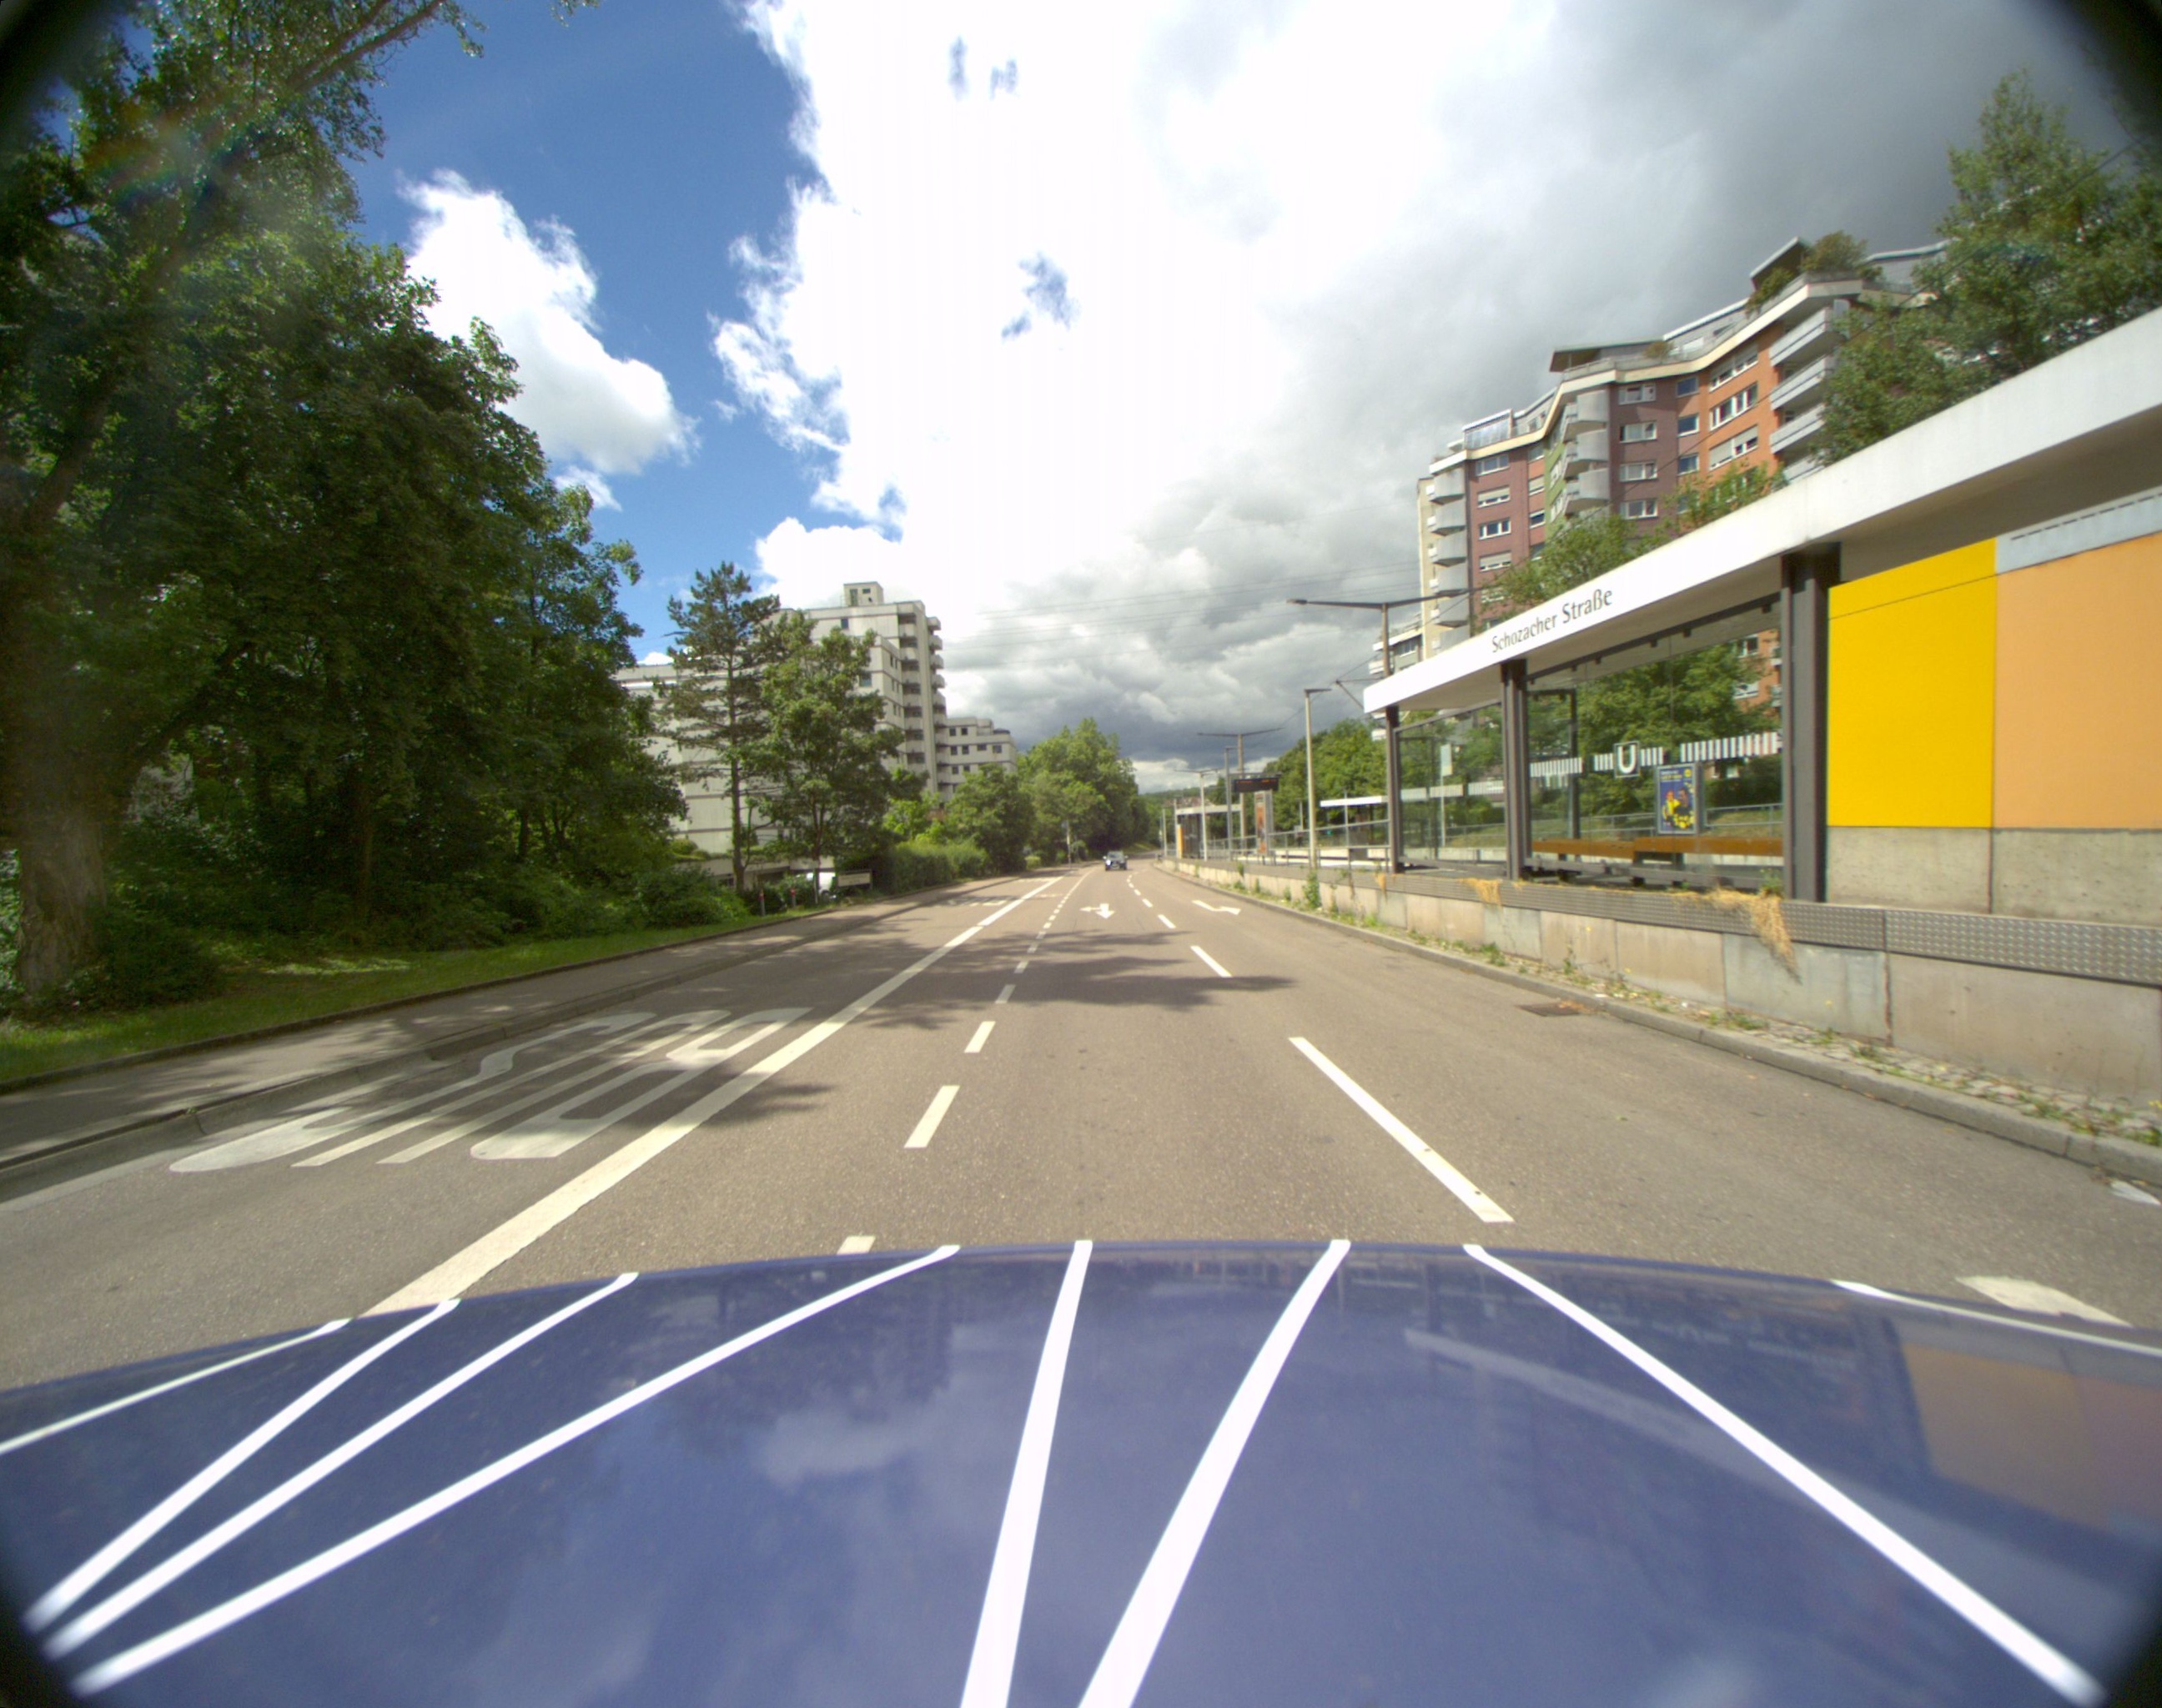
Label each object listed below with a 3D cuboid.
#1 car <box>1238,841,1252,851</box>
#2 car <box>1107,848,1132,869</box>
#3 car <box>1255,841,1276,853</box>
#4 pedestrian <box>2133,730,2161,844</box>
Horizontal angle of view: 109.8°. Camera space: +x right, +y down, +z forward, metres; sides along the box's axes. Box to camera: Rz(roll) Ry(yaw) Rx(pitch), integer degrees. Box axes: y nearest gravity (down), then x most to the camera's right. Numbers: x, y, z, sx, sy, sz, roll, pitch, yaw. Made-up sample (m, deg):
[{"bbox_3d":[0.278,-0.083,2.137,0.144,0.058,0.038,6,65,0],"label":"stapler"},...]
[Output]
[{"bbox_3d":[24.312,-1.211,112.700,1.658,1.504,3.738,-2,1,5],"label":"car"},{"bbox_3d":[3.080,0.339,60.286,1.736,1.477,3.817,-2,1,5],"label":"car"},{"bbox_3d":[23.300,-0.878,96.009,1.658,1.410,4.000,-2,1,1],"label":"car"},{"bbox_3d":[15.778,-0.967,11.027,0.522,1.635,0.563,-3,1,-31],"label":"pedestrian"}]
